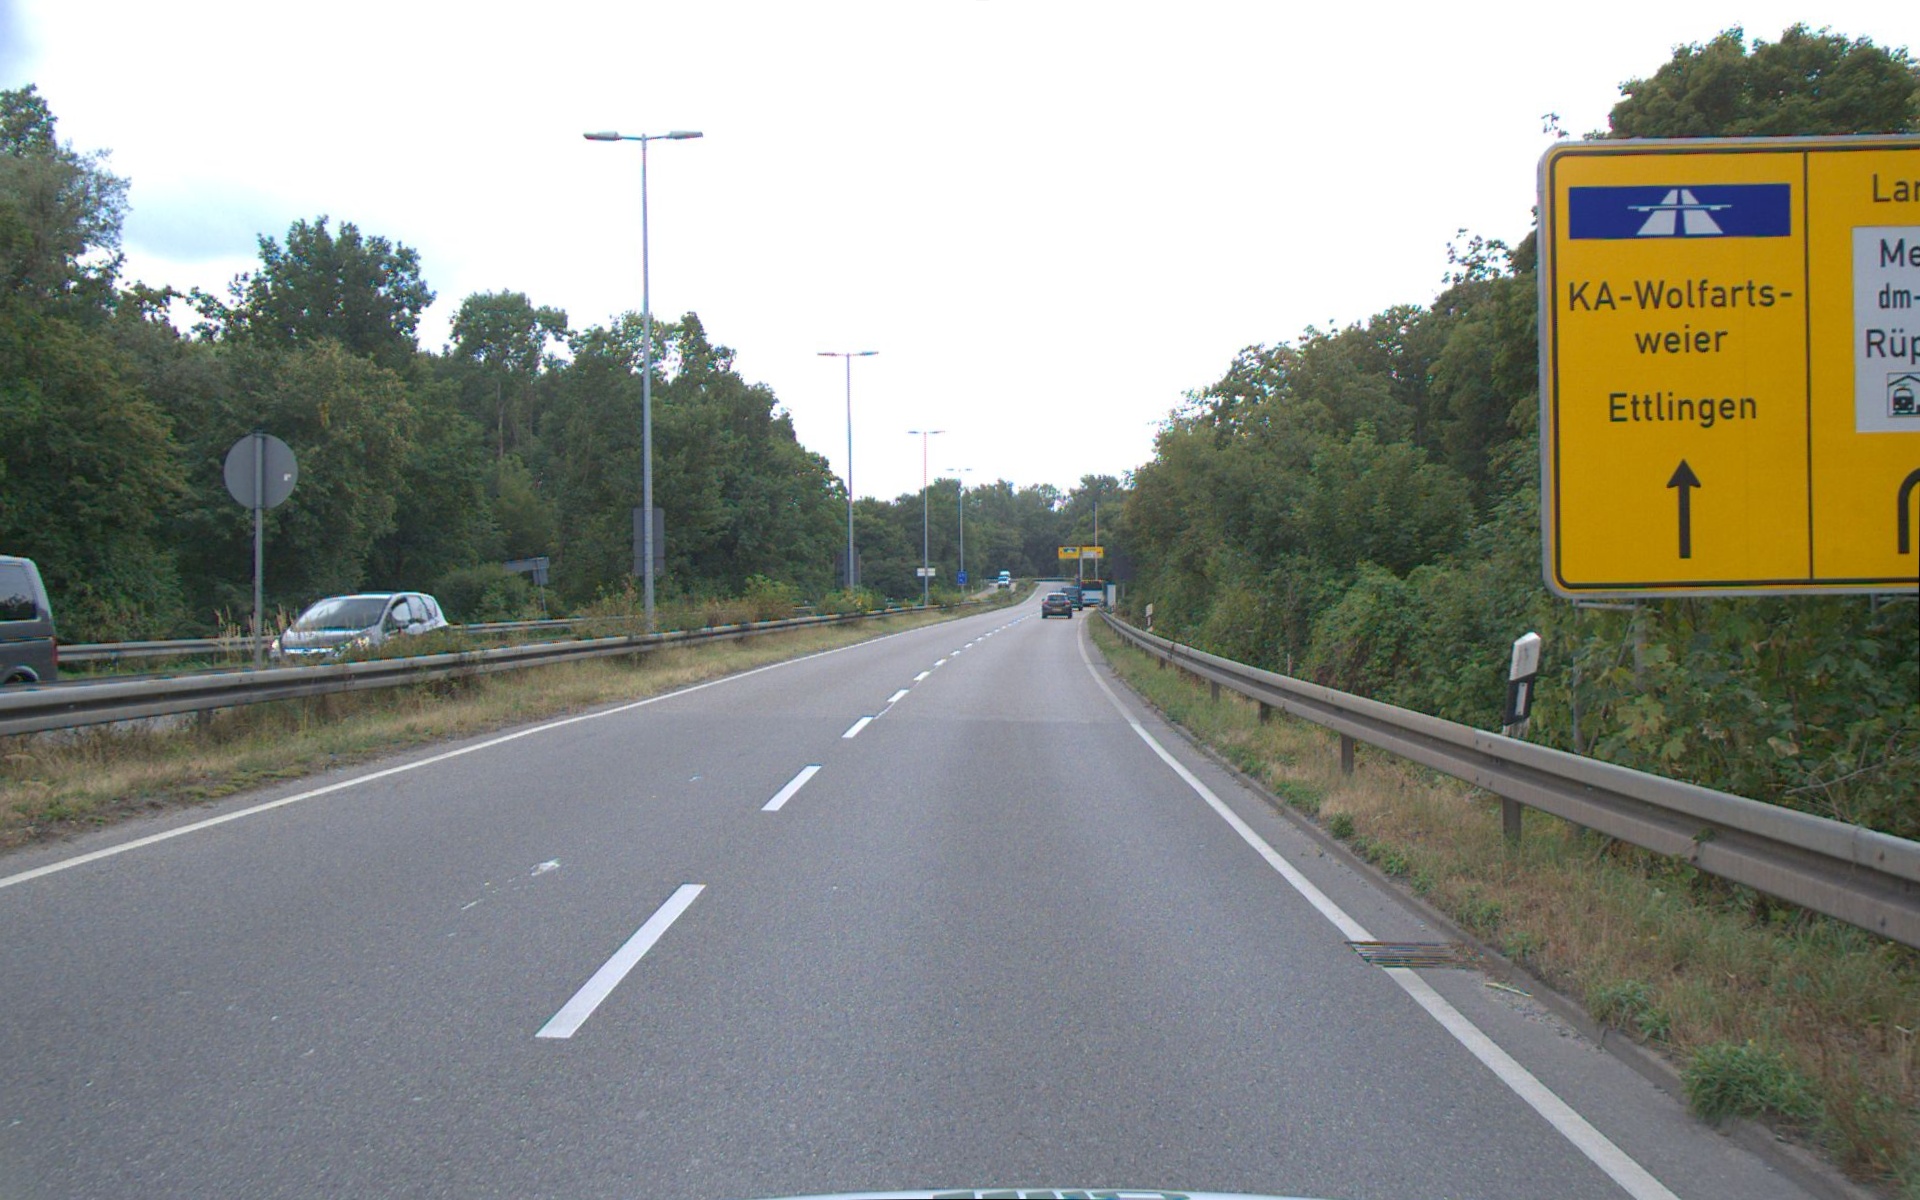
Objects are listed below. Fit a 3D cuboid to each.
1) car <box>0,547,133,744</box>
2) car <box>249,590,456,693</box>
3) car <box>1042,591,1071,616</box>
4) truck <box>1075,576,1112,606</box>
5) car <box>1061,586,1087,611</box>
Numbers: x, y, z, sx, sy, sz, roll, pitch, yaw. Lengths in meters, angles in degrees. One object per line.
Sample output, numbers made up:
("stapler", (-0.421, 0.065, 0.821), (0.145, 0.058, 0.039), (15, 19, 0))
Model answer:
("car", (-10.255, 0.440, 15.779), (1.968, 1.896, 5.278), (0, -1, 1))
("car", (-9.710, 0.659, 26.759), (1.730, 1.533, 3.941), (0, -1, 3))
("car", (5.798, 0.226, 98.790), (1.591, 1.402, 4.002), (0, -1, 6))
("truck", (14.305, -0.919, 176.780), (2.917, 2.936, 7.997), (0, -1, 12))
("car", (9.613, -0.138, 139.356), (2.102, 2.049, 4.002), (0, -1, 6))
